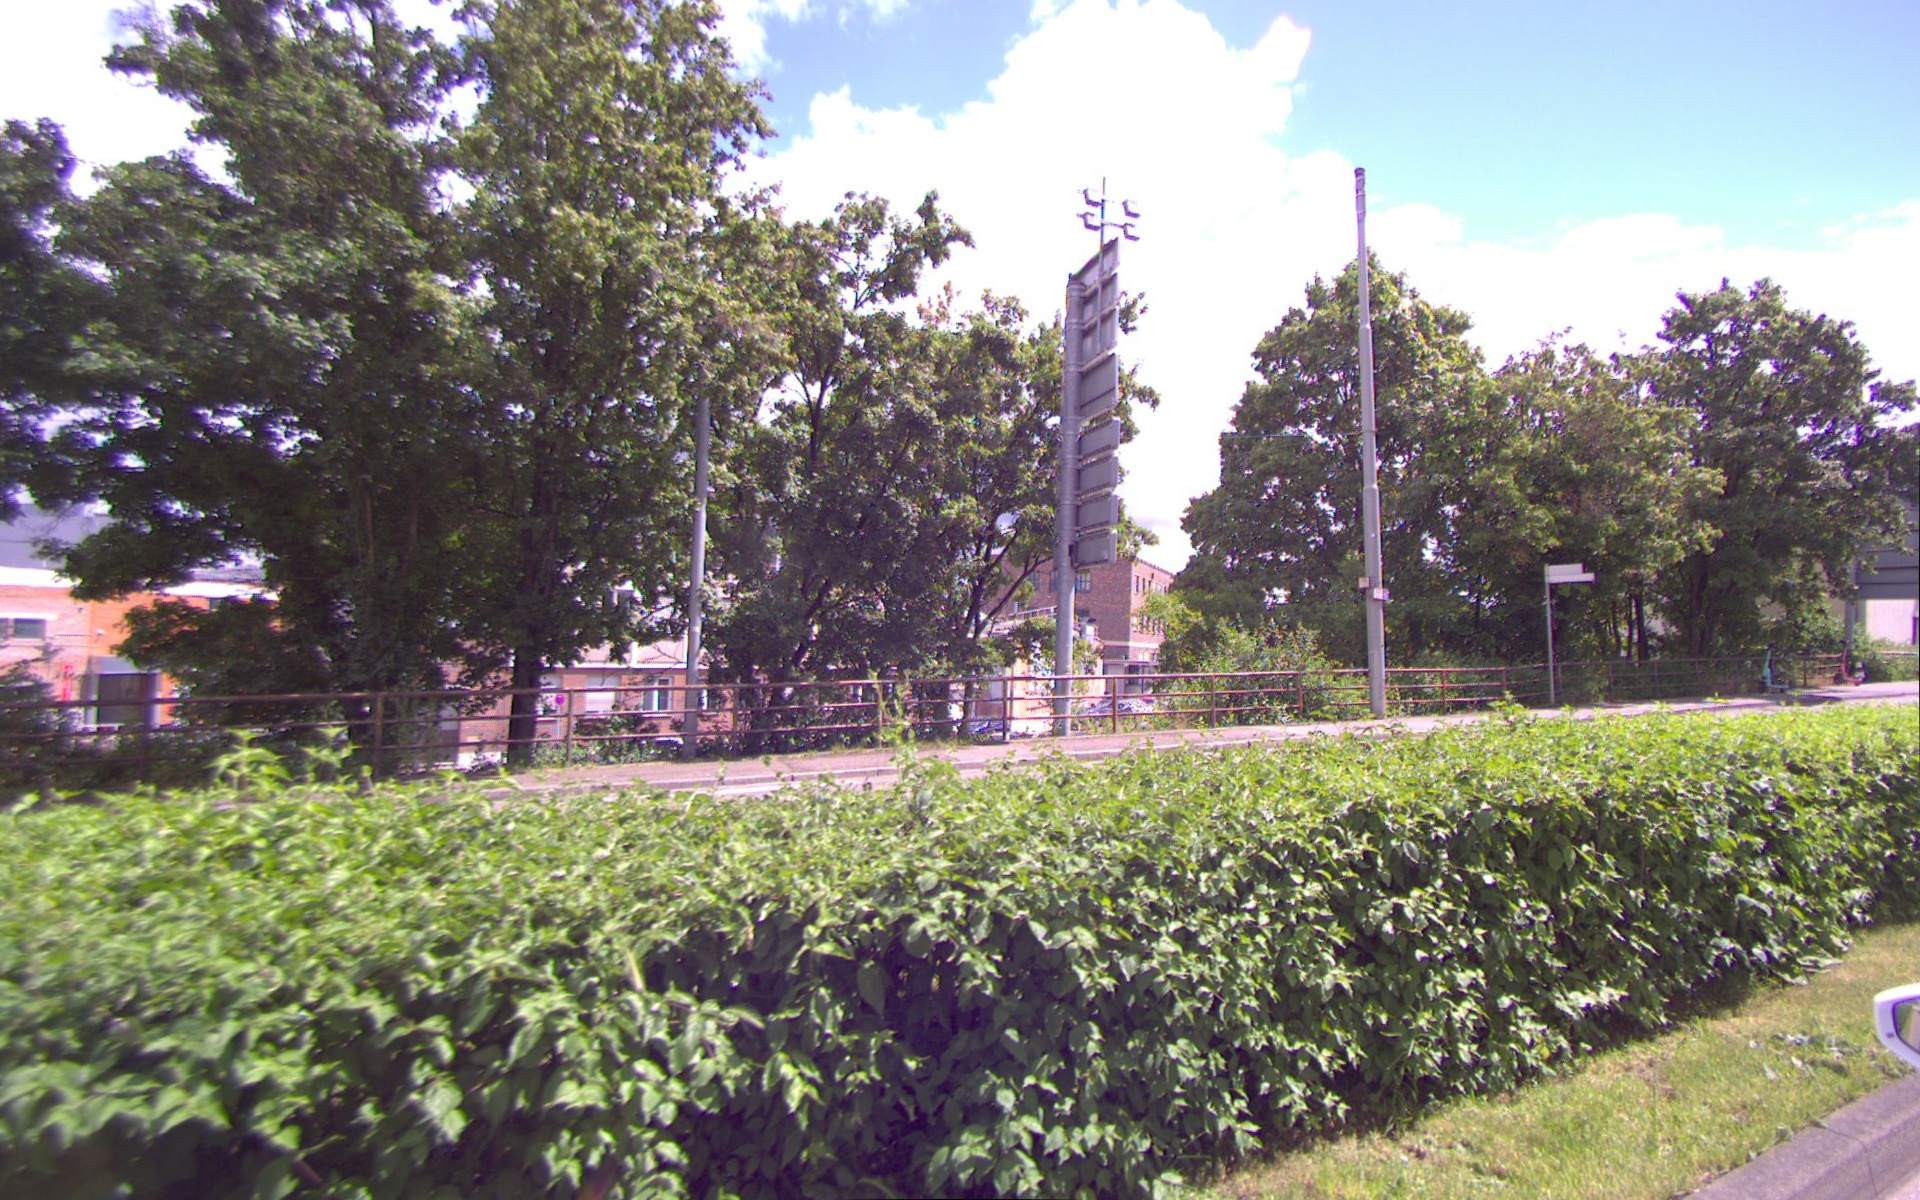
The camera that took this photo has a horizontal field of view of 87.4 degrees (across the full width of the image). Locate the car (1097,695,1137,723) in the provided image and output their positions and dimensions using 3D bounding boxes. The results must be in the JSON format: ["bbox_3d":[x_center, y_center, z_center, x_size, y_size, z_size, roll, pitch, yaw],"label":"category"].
[{"bbox_3d":[10.400,7.187,66.348,1.687,1.547,3.760,-1,-2,25],"label":"car"}]

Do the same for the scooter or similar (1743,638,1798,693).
[{"bbox_3d":[20.407,1.628,25.296,1.623,1.322,0.489,1,0,-29],"label":"scooter or similar"}]

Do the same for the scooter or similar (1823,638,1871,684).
[{"bbox_3d":[24.842,1.696,28.129,1.623,1.232,0.489,1,-2,-29],"label":"scooter or similar"}]

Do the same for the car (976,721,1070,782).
[{"bbox_3d":[2.344,5.423,36.372,1.630,1.750,3.725,-2,-2,37],"label":"car"}]

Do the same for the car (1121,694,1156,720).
[{"bbox_3d":[12.736,7.630,71.643,1.687,1.547,3.761,-1,-2,23],"label":"car"}]

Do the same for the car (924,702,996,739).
[{"bbox_3d":[0.033,6.060,51.017,1.693,1.547,3.746,-2,-3,38],"label":"car"}]
